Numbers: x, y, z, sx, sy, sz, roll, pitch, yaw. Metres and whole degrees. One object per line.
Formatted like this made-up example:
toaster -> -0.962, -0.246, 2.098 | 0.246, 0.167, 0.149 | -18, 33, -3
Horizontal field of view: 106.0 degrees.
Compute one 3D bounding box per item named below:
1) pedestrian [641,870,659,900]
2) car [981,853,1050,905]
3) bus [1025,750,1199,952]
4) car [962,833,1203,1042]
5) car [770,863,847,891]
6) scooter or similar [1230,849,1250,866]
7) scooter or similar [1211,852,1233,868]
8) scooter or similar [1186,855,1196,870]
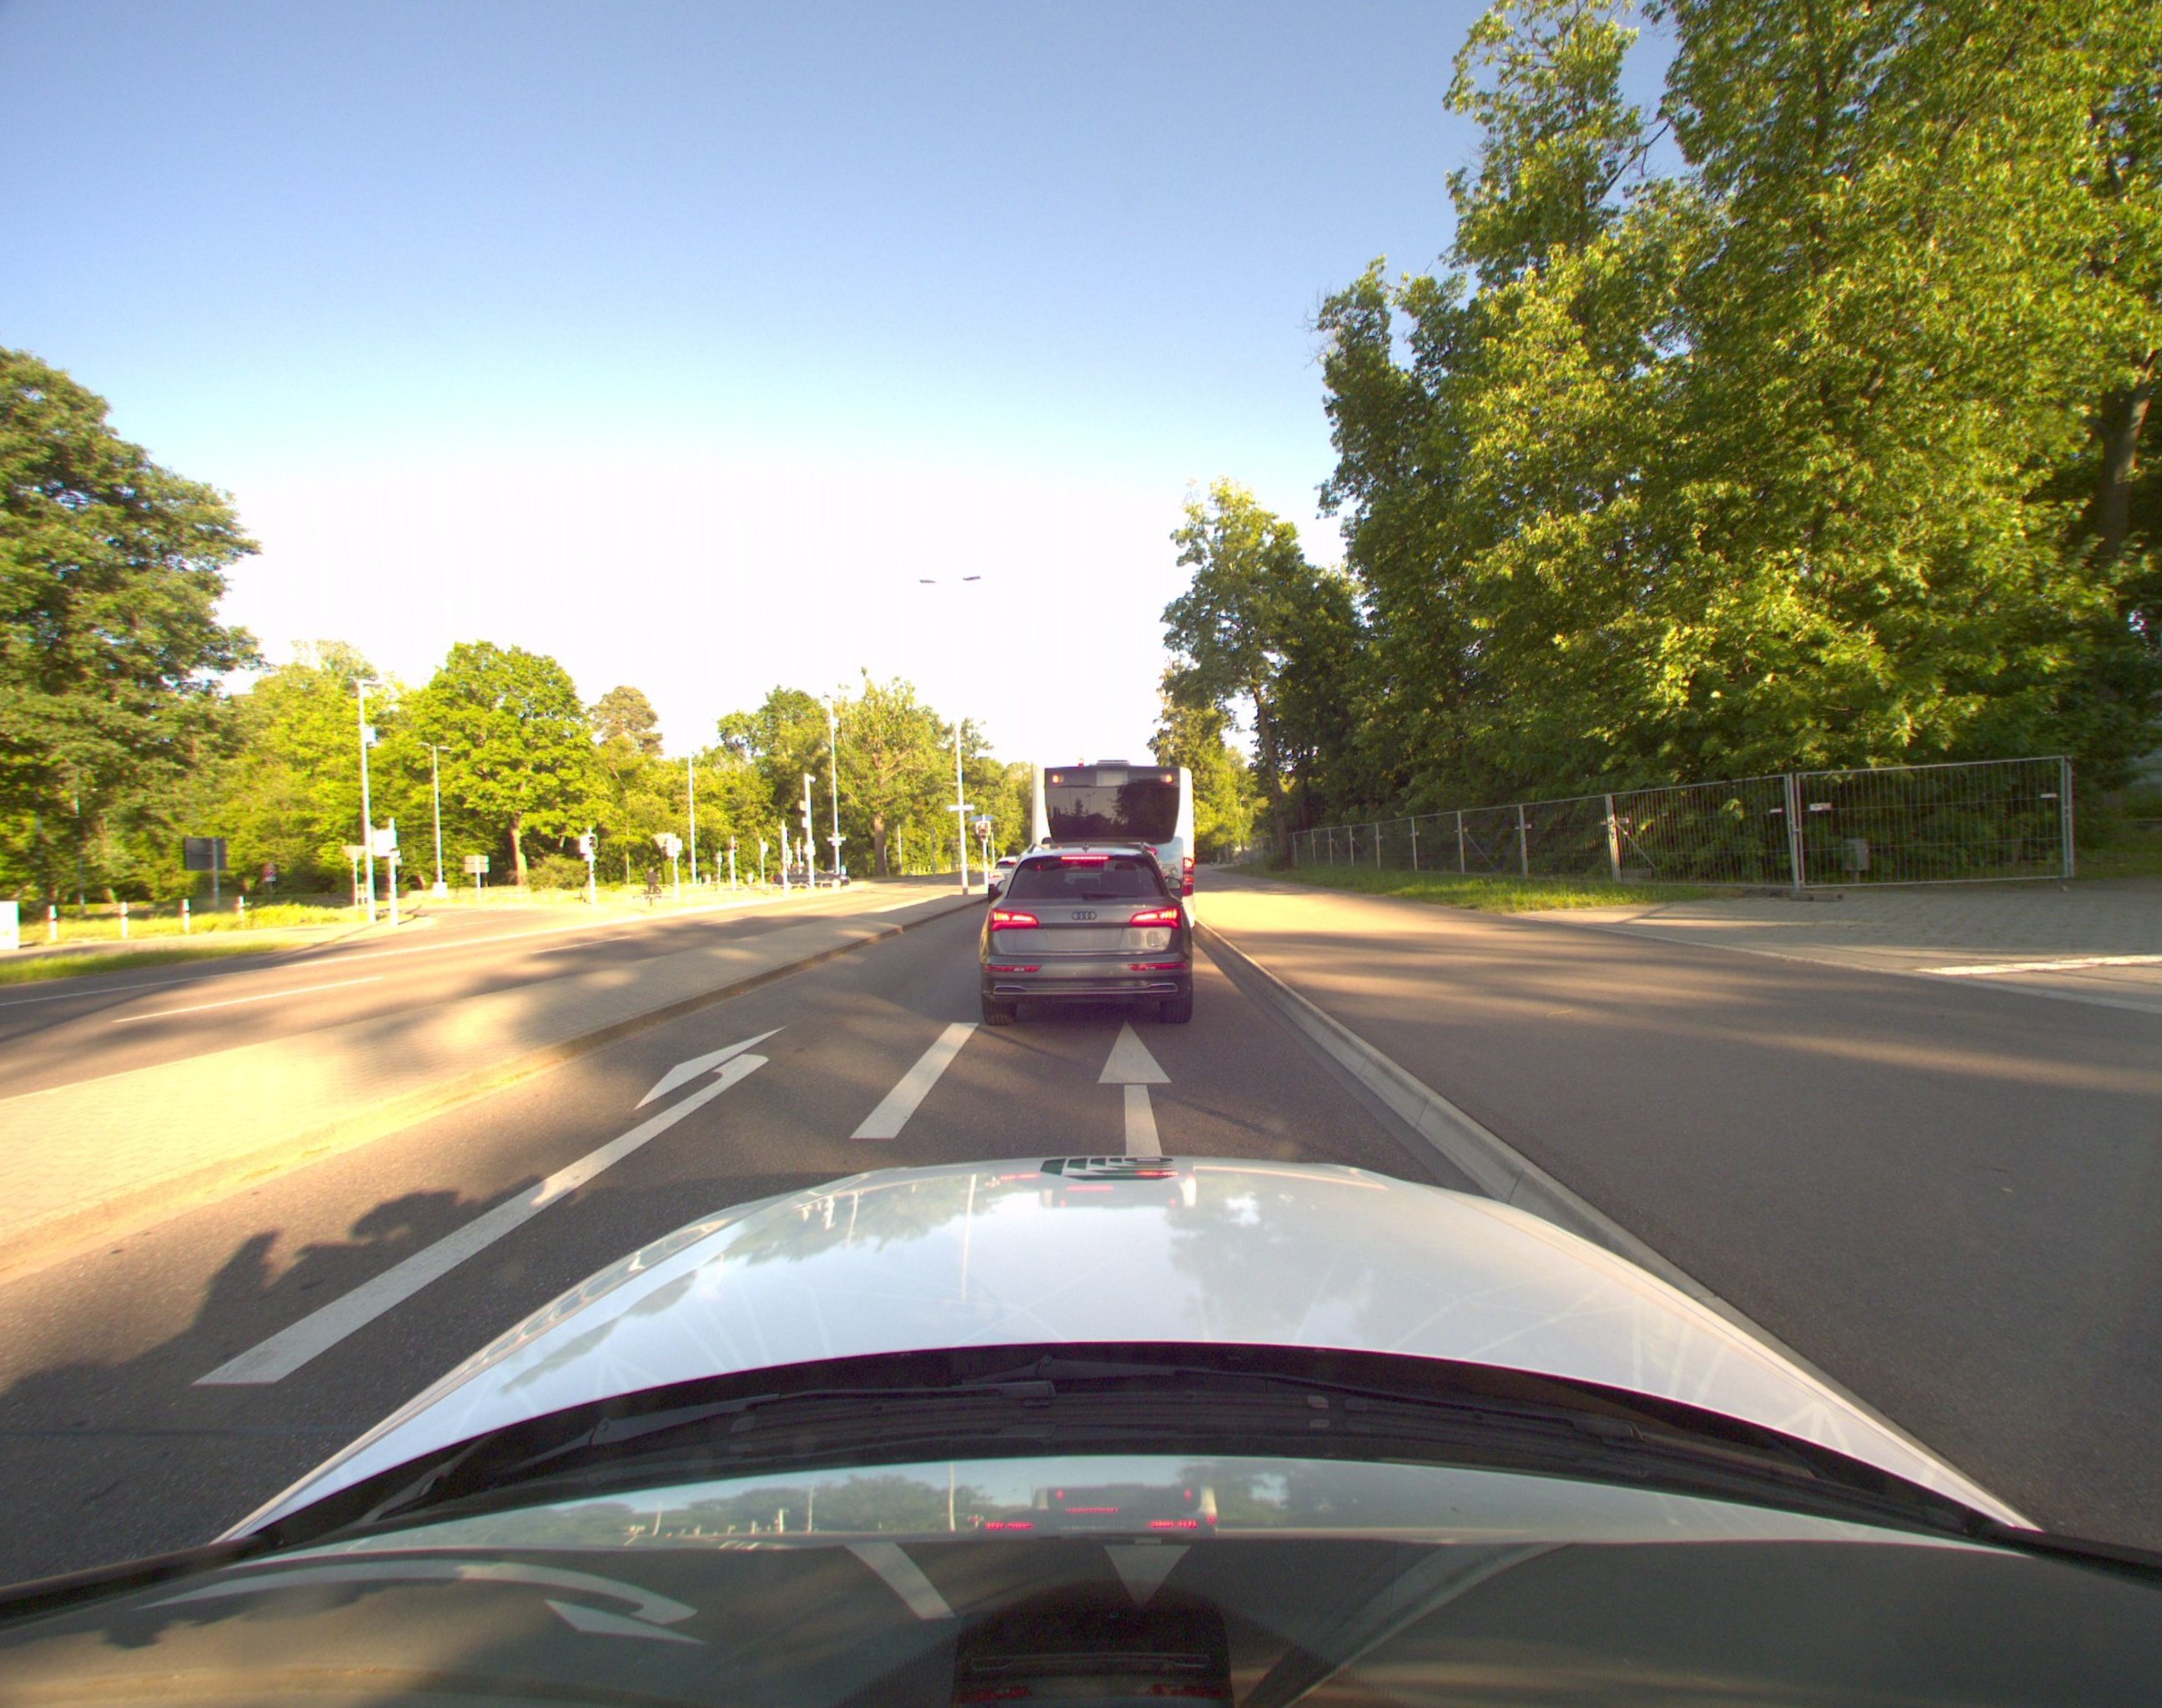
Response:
pedestrian -> -22.716, 1.642, 42.929 | 0.652, 1.560, 0.533 | -2, 0, -41
car -> -2.126, 0.787, 27.609 | 1.829, 1.518, 4.002 | -3, 0, 2
bus -> 0.616, 0.002, 16.958 | 2.585, 2.989, 9.330 | -1, -1, 2
car -> 0.075, 0.667, 8.461 | 1.891, 1.632, 4.002 | -1, 0, 2
car -> -16.169, 1.358, 48.509 | 4.106, 1.387, 1.744 | -3, 0, -13
scooter or similar -> 15.400, 0.363, 78.961 | 0.543, 1.567, 1.999 | -3, 0, -37
scooter or similar -> 13.470, 0.559, 77.707 | 2.025, 1.444, 0.601 | -3, 0, -23
scooter or similar -> 10.855, 0.822, 80.555 | 0.507, 1.444, 2.020 | -3, 0, -3
